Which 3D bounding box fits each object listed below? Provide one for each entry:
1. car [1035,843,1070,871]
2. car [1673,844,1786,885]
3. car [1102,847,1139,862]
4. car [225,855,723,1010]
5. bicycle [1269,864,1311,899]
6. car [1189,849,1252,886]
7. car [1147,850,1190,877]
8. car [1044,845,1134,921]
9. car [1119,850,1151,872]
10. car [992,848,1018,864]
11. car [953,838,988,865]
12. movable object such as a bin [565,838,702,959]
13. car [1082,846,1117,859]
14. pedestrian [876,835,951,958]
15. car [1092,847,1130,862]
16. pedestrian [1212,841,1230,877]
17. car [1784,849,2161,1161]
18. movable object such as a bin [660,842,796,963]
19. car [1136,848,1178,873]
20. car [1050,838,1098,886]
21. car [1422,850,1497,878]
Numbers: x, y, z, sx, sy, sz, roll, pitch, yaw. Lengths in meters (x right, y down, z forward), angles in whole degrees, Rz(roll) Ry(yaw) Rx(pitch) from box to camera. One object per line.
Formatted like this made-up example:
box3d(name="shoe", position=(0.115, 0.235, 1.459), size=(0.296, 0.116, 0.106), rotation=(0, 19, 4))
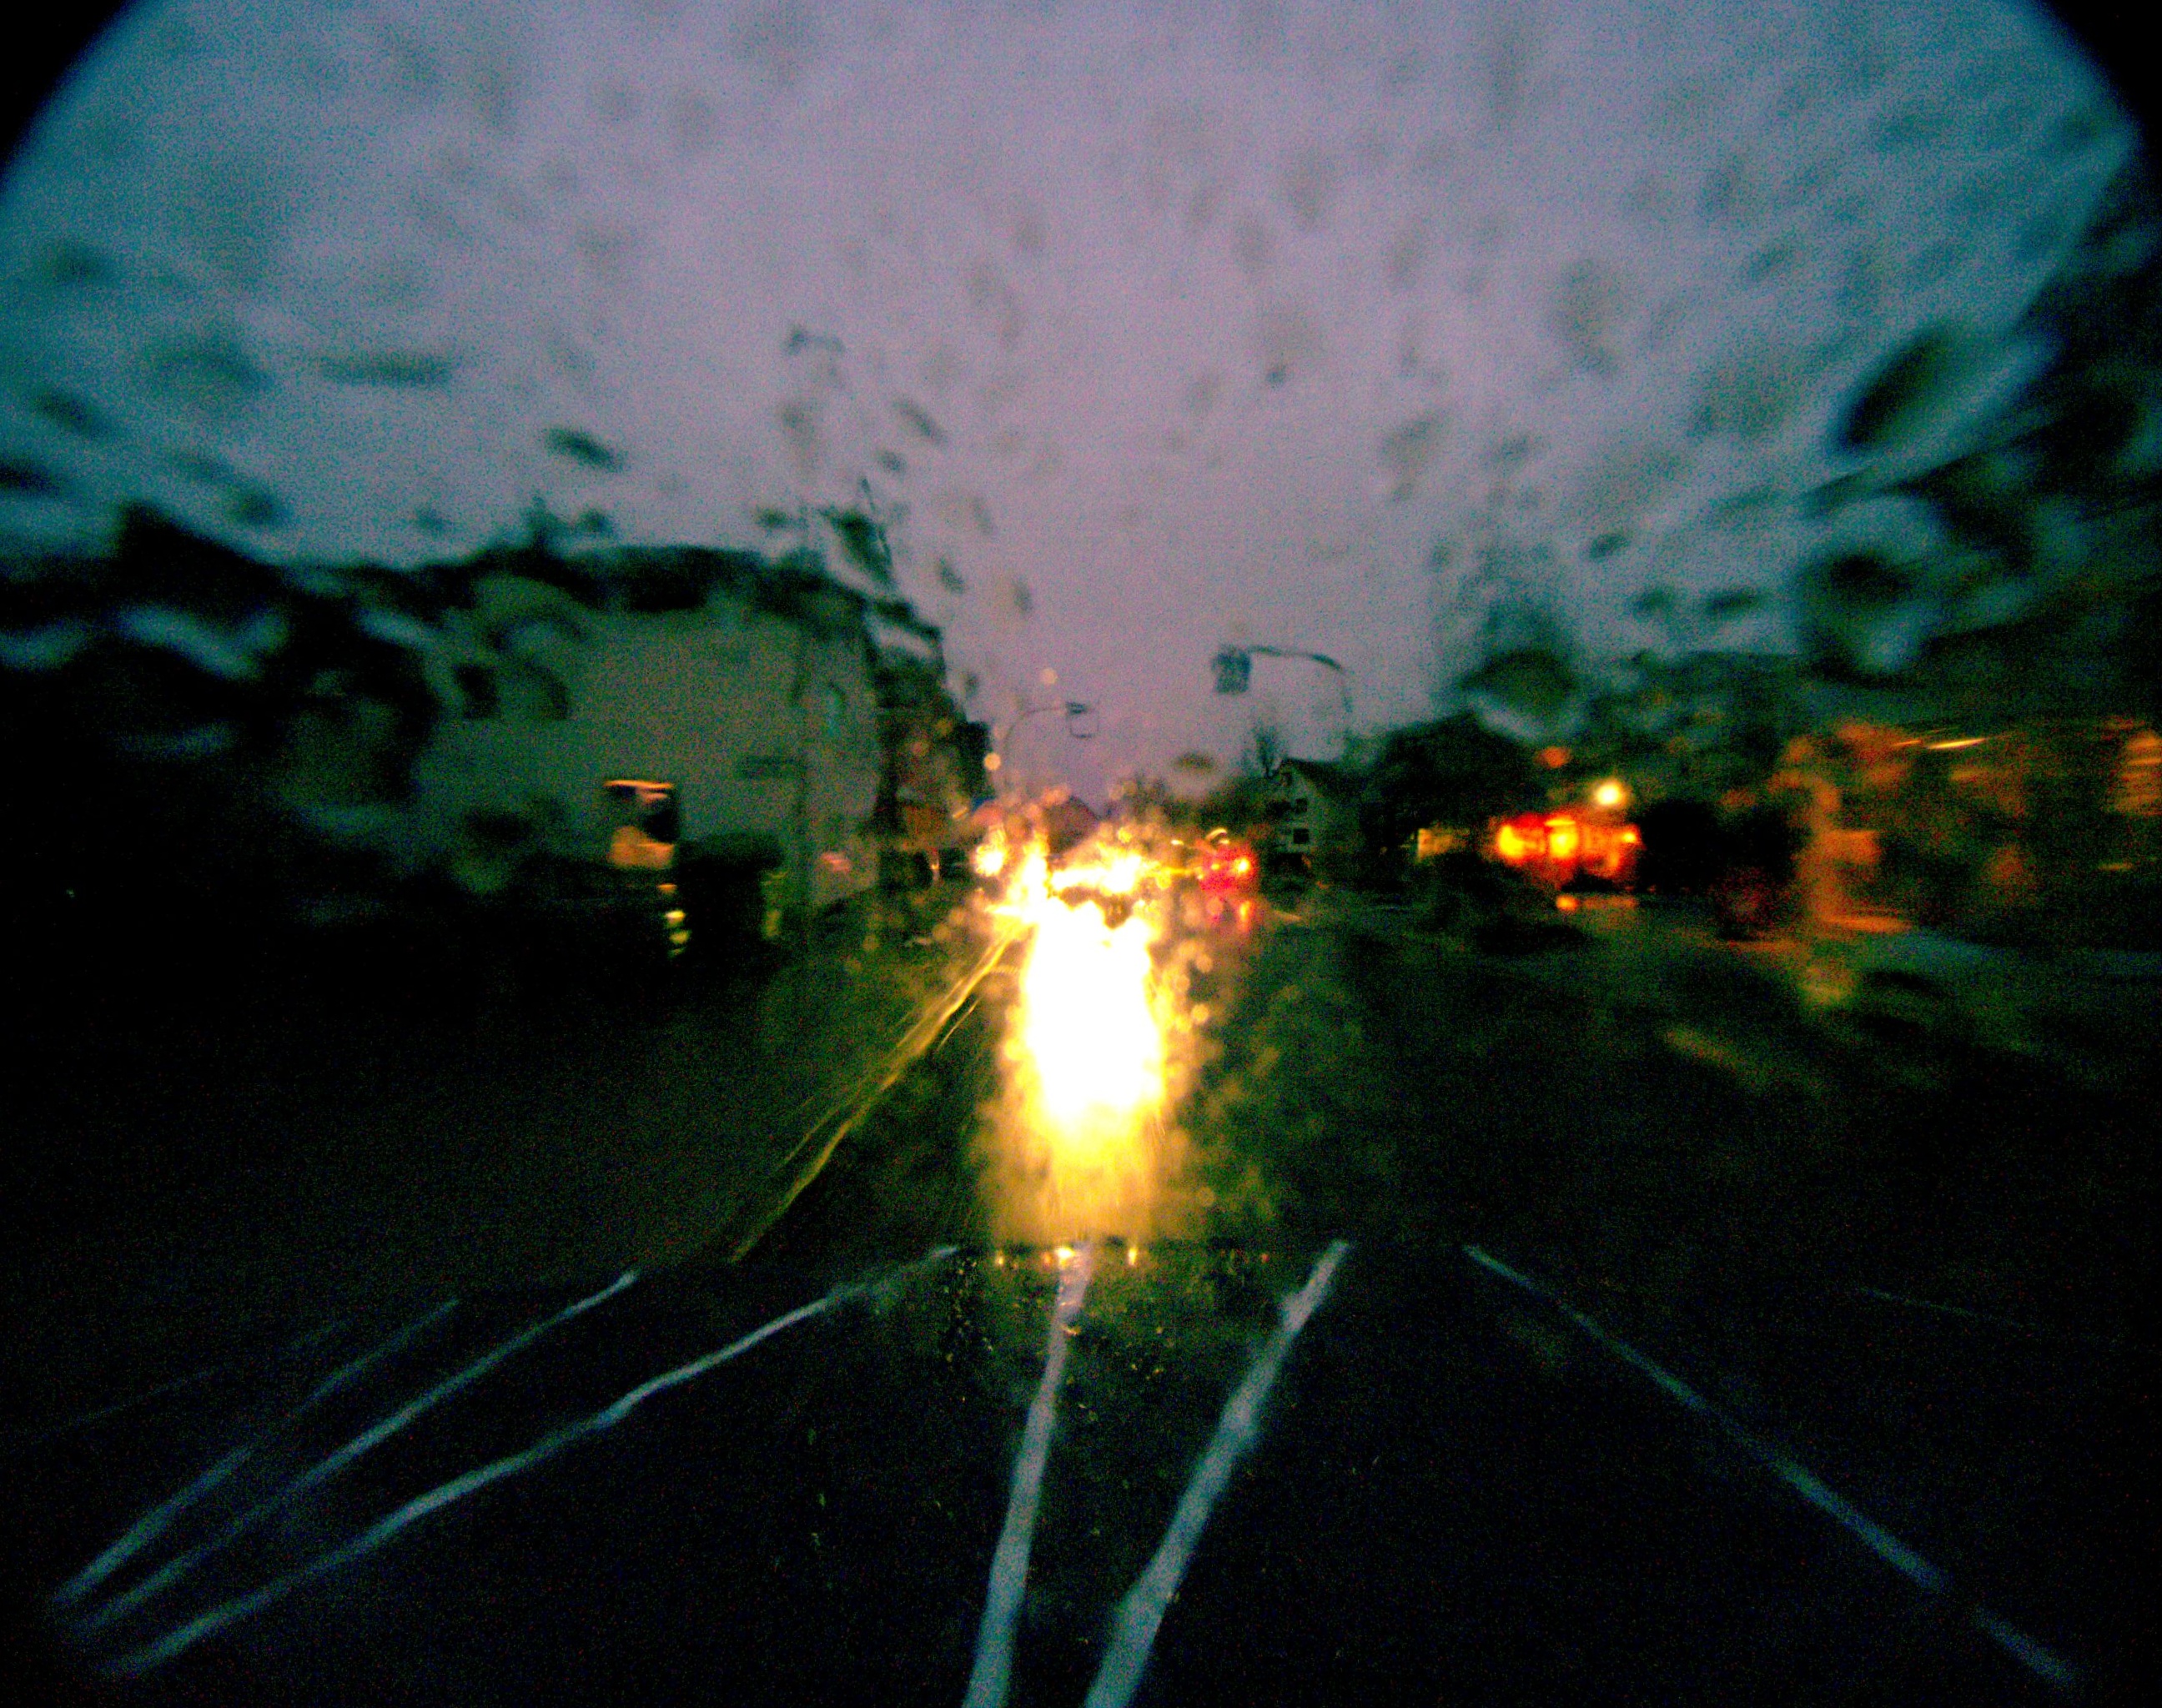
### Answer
box3d(name="car", position=(-2.119, 0.203, 55.411), size=(2.000, 1.844, 3.996), rotation=(-2, 1, -10))
box3d(name="car", position=(30.121, 0.472, 35.348), size=(4.002, 1.833, 1.997), rotation=(0, 1, -13))
box3d(name="car", position=(4.316, 0.029, 82.521), size=(3.840, 1.537, 2.000), rotation=(-2, 1, 4))
box3d(name="car", position=(-6.451, 0.778, 8.460), size=(3.996, 1.478, 1.912), rotation=(0, 2, 2))
box3d(name="bicycle", position=(6.615, 0.873, 24.090), size=(0.325, 1.055, 1.742), rotation=(4, -2, -18))
box3d(name="car", position=(6.159, 0.551, 33.937), size=(1.789, 1.480, 4.180), rotation=(-2, 1, -3))
box3d(name="car", position=(5.073, 0.530, 44.609), size=(1.699, 1.423, 4.375), rotation=(-2, 0, -3))
box3d(name="car", position=(0.092, 0.661, 19.832), size=(1.999, 1.720, 3.998), rotation=(-2, 1, -4))
box3d(name="car", position=(4.037, 0.481, 57.519), size=(1.841, 1.526, 4.137), rotation=(-2, 1, -4))
box3d(name="car", position=(-7.813, 0.164, 77.866), size=(2.001, 1.506, 3.994), rotation=(-2, 1, -15))
box3d(name="car", position=(-6.639, -0.186, 45.632), size=(1.936, 1.477, 4.692), rotation=(-2, 1, -8))
box3d(name="movable object such as a bin", position=(-6.420, 0.616, 10.995), size=(1.289, 1.634, 1.185), rotation=(1, 1, -4))
box3d(name="car", position=(2.138, -0.158, 87.974), size=(3.996, 1.291, 2.000), rotation=(-2, 1, 2))
box3d(name="pedestrian", position=(-2.681, 0.649, 12.276), size=(0.969, 1.878, 1.005), rotation=(-2, 1, -4))
box3d(name="car", position=(3.383, 0.072, 85.094), size=(3.995, 1.538, 2.001), rotation=(-2, 1, 7))
box3d(name="pedestrian", position=(7.757, 0.280, 42.206), size=(0.902, 2.002, 0.791), rotation=(-1, 1, 6))
box3d(name="car", position=(6.600, 0.790, 3.718), size=(1.999, 1.549, 4.619), rotation=(-2, 1, -1))
box3d(name="movable object such as a bin", position=(-5.052, 0.665, 11.001), size=(1.397, 1.634, 1.261), rotation=(1, 1, -4))
box3d(name="car", position=(4.958, 0.410, 49.998), size=(1.881, 1.526, 3.669), rotation=(-2, 1, -8))
box3d(name="car", position=(-0.304, 0.304, 34.874), size=(1.998, 2.002, 3.999), rotation=(-2, 1, 0))
box3d(name="car", position=(22.621, 0.580, 45.608), size=(2.000, 1.555, 3.995), rotation=(0, 1, -11))
